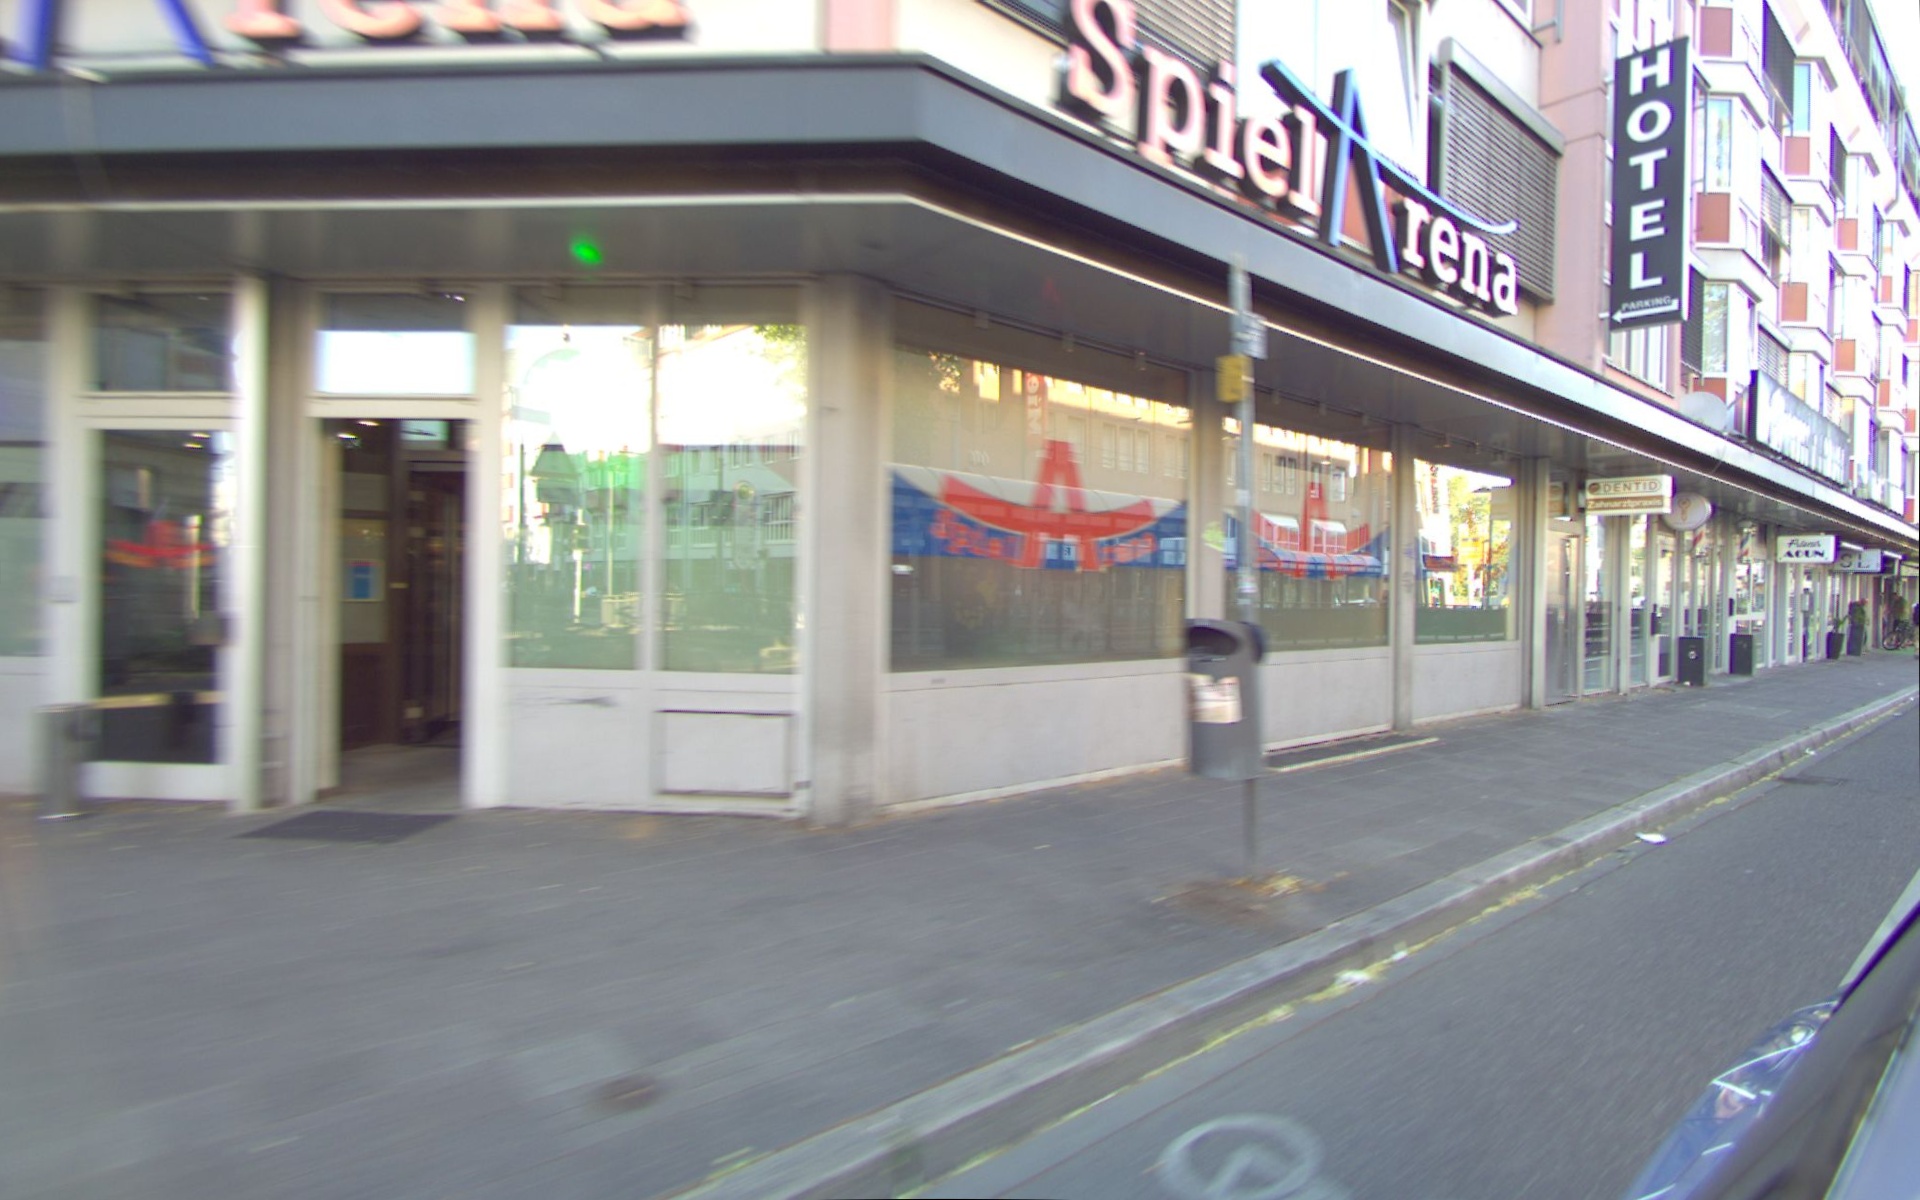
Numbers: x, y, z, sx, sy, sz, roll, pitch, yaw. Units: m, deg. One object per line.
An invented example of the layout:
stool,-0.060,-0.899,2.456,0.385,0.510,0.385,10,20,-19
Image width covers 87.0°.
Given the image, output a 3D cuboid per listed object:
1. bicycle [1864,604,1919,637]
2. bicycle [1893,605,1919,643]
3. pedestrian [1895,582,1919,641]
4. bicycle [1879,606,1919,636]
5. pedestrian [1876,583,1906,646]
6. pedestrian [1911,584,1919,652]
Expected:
bicycle,33.075,0.736,35.504,0.566,1.073,1.928,0,2,-41
bicycle,29.282,0.733,31.100,1.763,1.079,0.659,0,5,-42
pedestrian,31.061,0.360,32.875,0.766,1.889,0.915,0,2,-44
bicycle,34.186,0.785,36.260,0.496,0.985,1.737,0,3,-36
pedestrian,25.459,0.392,27.691,0.540,1.694,0.462,2,1,41
pedestrian,25.379,0.490,26.266,1.042,1.743,0.800,0,4,-40
